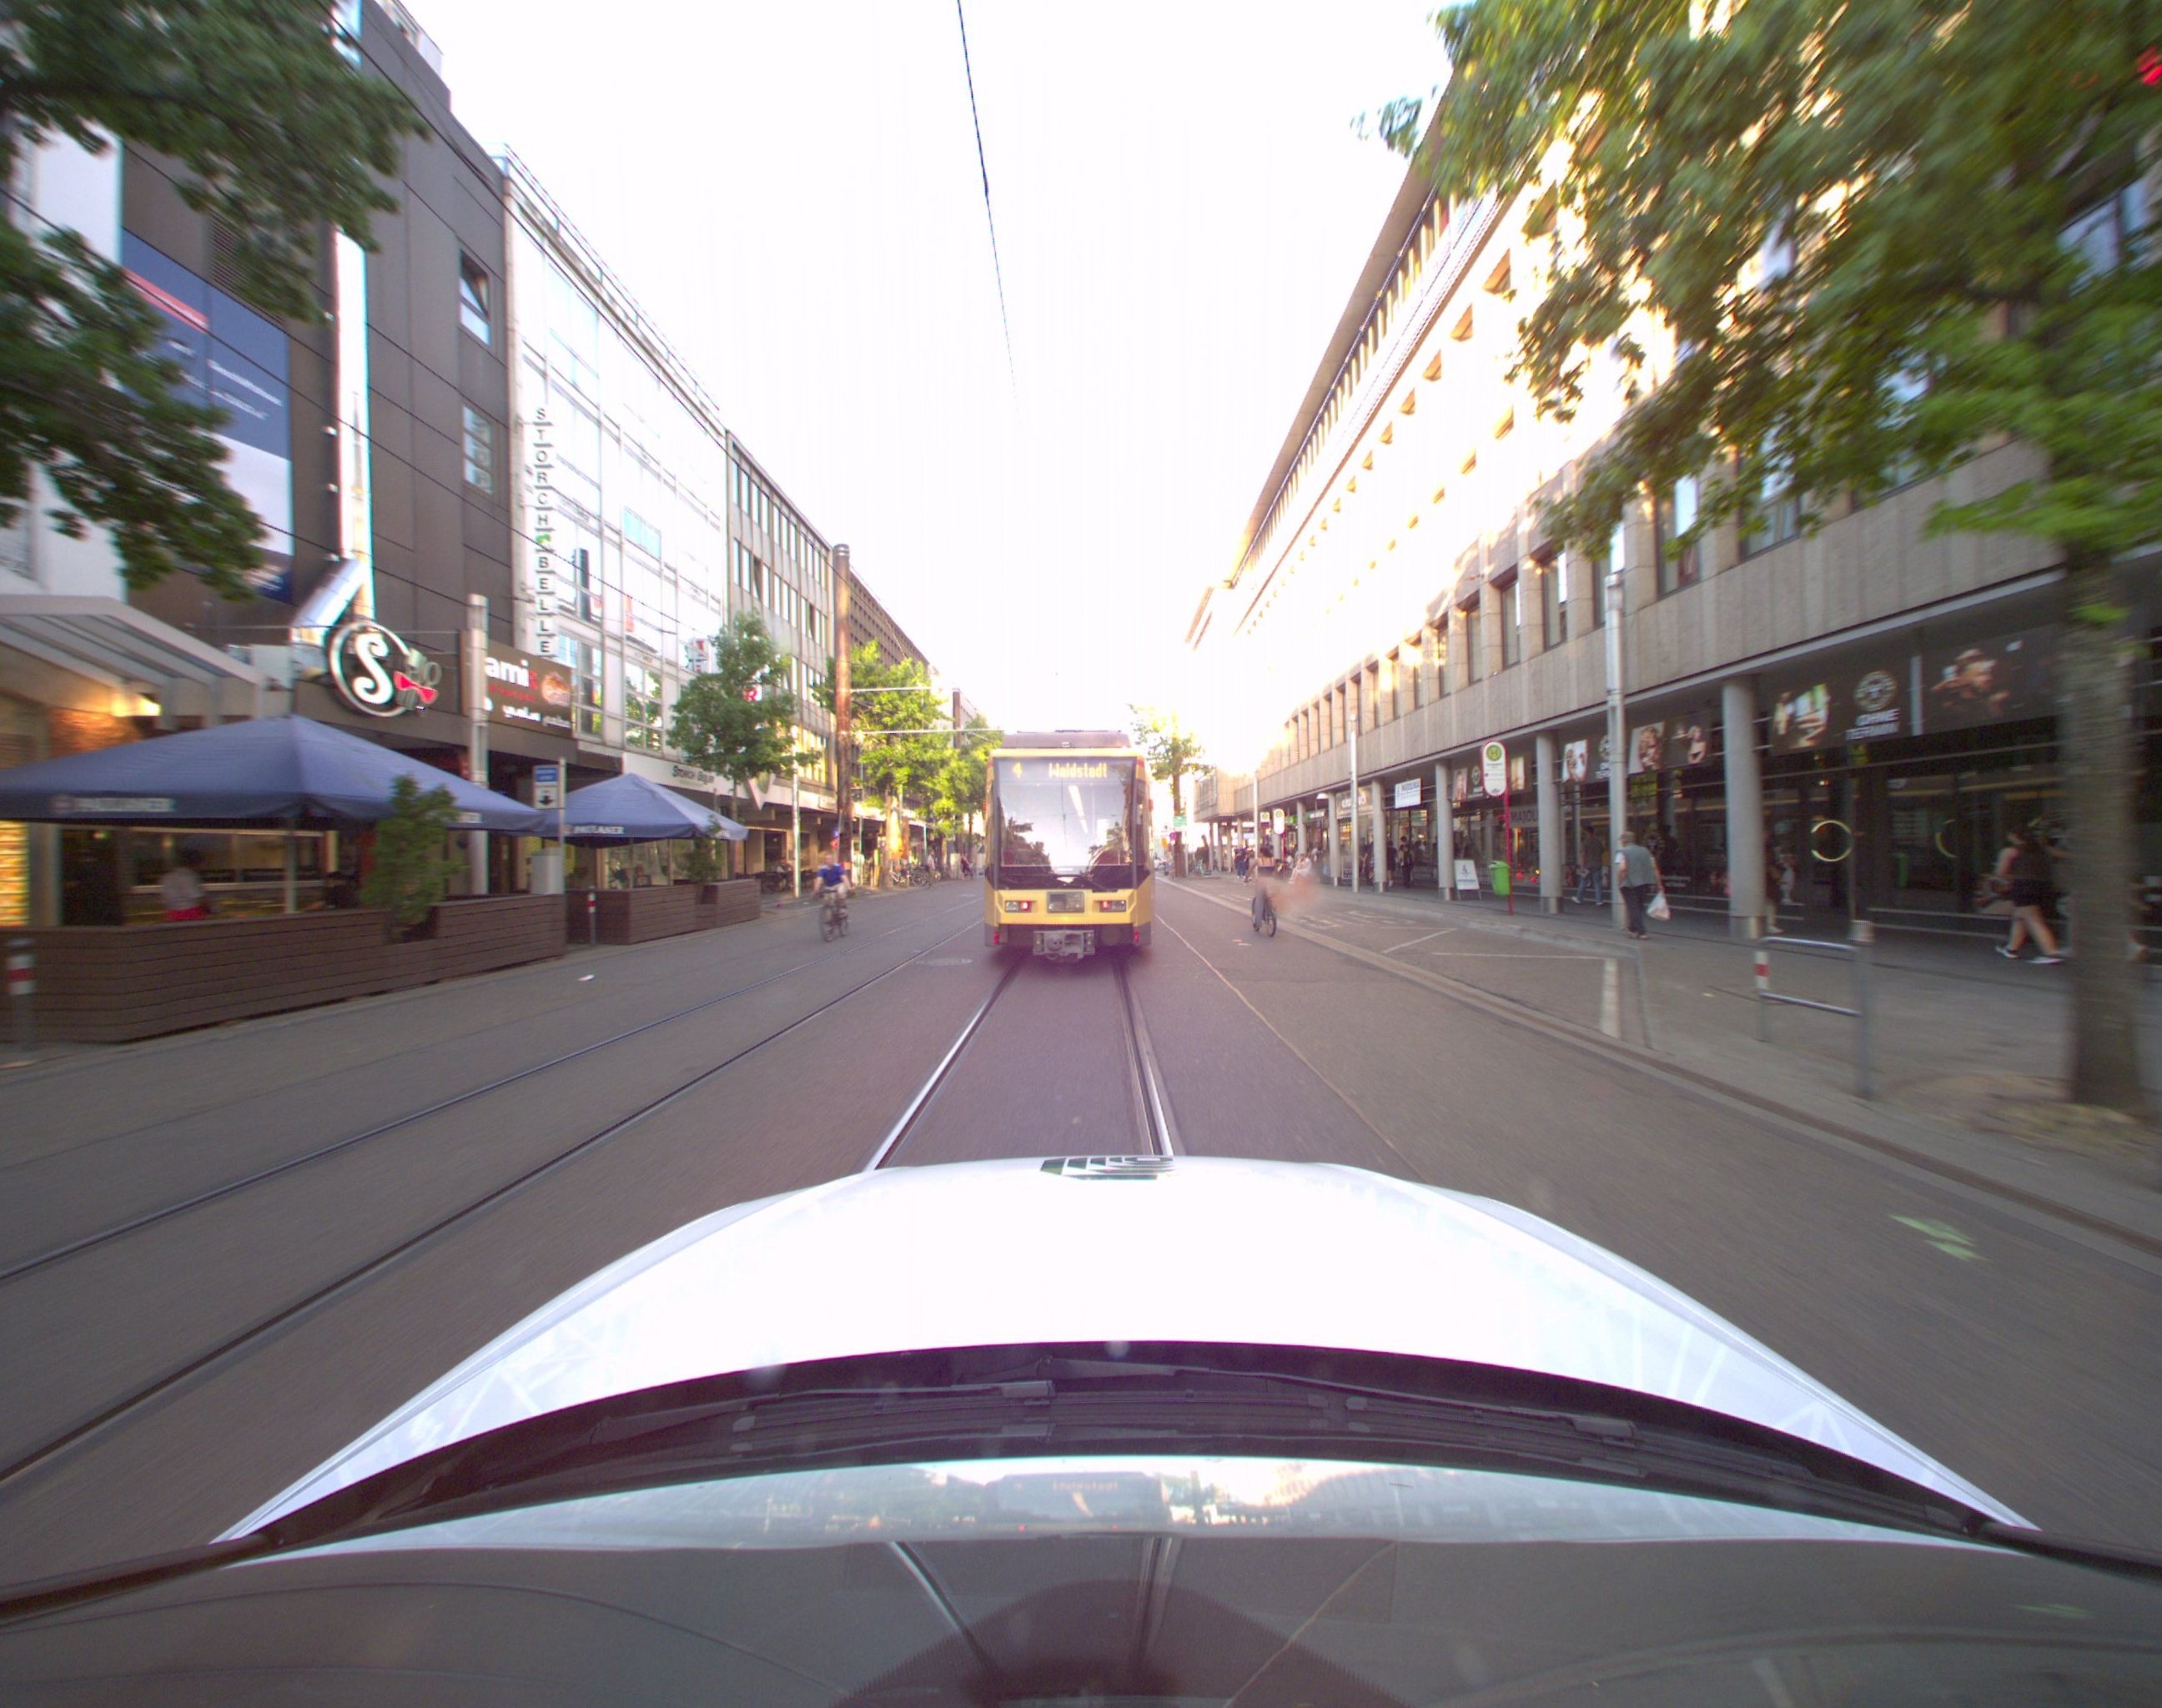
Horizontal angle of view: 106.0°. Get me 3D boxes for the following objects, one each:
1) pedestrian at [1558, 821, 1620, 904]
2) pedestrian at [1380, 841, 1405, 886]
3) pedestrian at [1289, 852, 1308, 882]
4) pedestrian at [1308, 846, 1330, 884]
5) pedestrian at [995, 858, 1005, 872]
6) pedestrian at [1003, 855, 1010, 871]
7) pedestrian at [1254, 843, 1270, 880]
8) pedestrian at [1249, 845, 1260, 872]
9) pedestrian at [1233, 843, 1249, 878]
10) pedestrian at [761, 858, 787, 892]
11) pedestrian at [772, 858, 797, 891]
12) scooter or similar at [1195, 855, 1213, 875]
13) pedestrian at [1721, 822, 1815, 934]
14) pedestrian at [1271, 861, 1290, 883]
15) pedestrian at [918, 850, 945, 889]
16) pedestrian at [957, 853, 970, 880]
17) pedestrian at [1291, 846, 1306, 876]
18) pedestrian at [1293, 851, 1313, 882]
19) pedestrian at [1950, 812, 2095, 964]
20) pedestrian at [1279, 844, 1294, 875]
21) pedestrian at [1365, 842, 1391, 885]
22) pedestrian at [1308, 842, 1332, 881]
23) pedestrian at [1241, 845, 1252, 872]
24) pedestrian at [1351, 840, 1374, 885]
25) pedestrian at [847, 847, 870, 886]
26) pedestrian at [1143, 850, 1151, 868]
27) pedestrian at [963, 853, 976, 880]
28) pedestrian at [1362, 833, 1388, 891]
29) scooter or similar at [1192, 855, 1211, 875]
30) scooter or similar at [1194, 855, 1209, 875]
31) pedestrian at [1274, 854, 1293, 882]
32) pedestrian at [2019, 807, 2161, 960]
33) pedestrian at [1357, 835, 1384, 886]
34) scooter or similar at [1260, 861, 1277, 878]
[{"bbox_3d":[11.937,0.196,19.152,0.841,1.889,0.899,-2,-1,1],"label":"pedestrian"},{"bbox_3d":[11.952,0.356,31.267,0.645,1.661,0.681,-2,0,2],"label":"pedestrian"},{"bbox_3d":[9.578,0.578,35.864,0.715,1.314,0.532,0,-1,2],"label":"pedestrian"},{"bbox_3d":[9.991,0.449,34.206,0.721,1.570,0.736,-2,-1,3],"label":"pedestrian"},{"bbox_3d":[-8.008,1.087,80.517,0.548,1.434,0.689,-2,-2,39],"label":"pedestrian"},{"bbox_3d":[-7.041,0.838,76.815,0.603,1.494,0.554,-1,-1,-7],"label":"pedestrian"},{"bbox_3d":[9.089,0.387,40.957,0.637,1.839,0.668,-2,-1,2],"label":"pedestrian"},{"bbox_3d":[12.022,0.318,56.465,0.537,1.806,0.604,-2,-1,0],"label":"pedestrian"},{"bbox_3d":[8.662,0.358,44.037,0.666,1.839,0.708,-2,-1,0],"label":"pedestrian"},{"bbox_3d":[-12.300,0.825,32.626,0.668,1.325,0.912,1,-1,0],"label":"pedestrian"},{"bbox_3d":[-12.290,0.835,33.824,0.668,1.325,0.912,1,-1,0],"label":"pedestrian"},{"bbox_3d":[8.082,0.736,53.481,1.119,1.251,0.492,-2,0,-30],"label":"scooter or similar"},{"bbox_3d":[10.501,0.357,12.478,0.745,1.644,0.741,-2,-1,1],"label":"pedestrian"},{"bbox_3d":[9.840,0.882,40.112,0.810,1.042,0.544,0,-1,2],"label":"pedestrian"},{"bbox_3d":[-7.039,0.721,38.417,0.827,1.792,0.978,0,-1,-43],"label":"pedestrian"},{"bbox_3d":[-7.457,0.804,51.865,0.595,1.699,0.539,0,0,30],"label":"pedestrian"},{"bbox_3d":[12.931,0.413,48.368,0.660,1.787,0.719,-2,-1,1],"label":"pedestrian"},{"bbox_3d":[9.611,0.550,35.306,0.715,1.314,0.525,0,-1,2],"label":"pedestrian"},{"bbox_3d":[10.730,0.371,9.309,0.678,1.644,0.789,-2,-1,0],"label":"pedestrian"},{"bbox_3d":[12.215,0.330,48.468,0.660,1.787,0.719,-2,-1,1],"label":"pedestrian"},{"bbox_3d":[12.339,0.395,33.857,0.770,1.772,0.774,-2,-1,0],"label":"pedestrian"},{"bbox_3d":[11.192,0.363,38.171,0.841,1.797,0.859,-2,-1,1],"label":"pedestrian"},{"bbox_3d":[11.485,0.322,56.566,0.537,1.806,0.604,-2,-1,0],"label":"pedestrian"},{"bbox_3d":[11.235,0.324,32.474,0.580,1.753,0.773,-2,-1,0],"label":"pedestrian"},{"bbox_3d":[-10.433,0.593,38.171,0.681,1.793,0.991,1,-1,4],"label":"pedestrian"},{"bbox_3d":[6.306,0.472,78.012,0.715,1.725,0.710,-1,-1,2],"label":"pedestrian"},{"bbox_3d":[-7.048,0.796,51.337,0.595,1.699,0.539,0,0,30],"label":"pedestrian"},{"bbox_3d":[10.090,0.263,27.957,0.576,1.944,0.655,-2,-1,1],"label":"pedestrian"},{"bbox_3d":[8.028,0.735,54.282,1.194,1.251,0.389,-2,0,-29],"label":"scooter or similar"},{"bbox_3d":[8.104,0.725,54.871,0.388,1.251,1.199,-2,0,39],"label":"scooter or similar"},{"bbox_3d":[9.799,0.675,39.430,0.810,1.381,0.663,0,-1,2],"label":"pedestrian"},{"bbox_3d":[11.598,0.324,9.327,0.708,1.644,0.818,-2,-1,0],"label":"pedestrian"},{"bbox_3d":[11.094,0.253,31.213,0.704,1.889,0.796,-2,-1,2],"label":"pedestrian"},{"bbox_3d":[9.614,0.802,41.765,0.827,0.884,0.689,0,-1,15],"label":"scooter or similar"}]
